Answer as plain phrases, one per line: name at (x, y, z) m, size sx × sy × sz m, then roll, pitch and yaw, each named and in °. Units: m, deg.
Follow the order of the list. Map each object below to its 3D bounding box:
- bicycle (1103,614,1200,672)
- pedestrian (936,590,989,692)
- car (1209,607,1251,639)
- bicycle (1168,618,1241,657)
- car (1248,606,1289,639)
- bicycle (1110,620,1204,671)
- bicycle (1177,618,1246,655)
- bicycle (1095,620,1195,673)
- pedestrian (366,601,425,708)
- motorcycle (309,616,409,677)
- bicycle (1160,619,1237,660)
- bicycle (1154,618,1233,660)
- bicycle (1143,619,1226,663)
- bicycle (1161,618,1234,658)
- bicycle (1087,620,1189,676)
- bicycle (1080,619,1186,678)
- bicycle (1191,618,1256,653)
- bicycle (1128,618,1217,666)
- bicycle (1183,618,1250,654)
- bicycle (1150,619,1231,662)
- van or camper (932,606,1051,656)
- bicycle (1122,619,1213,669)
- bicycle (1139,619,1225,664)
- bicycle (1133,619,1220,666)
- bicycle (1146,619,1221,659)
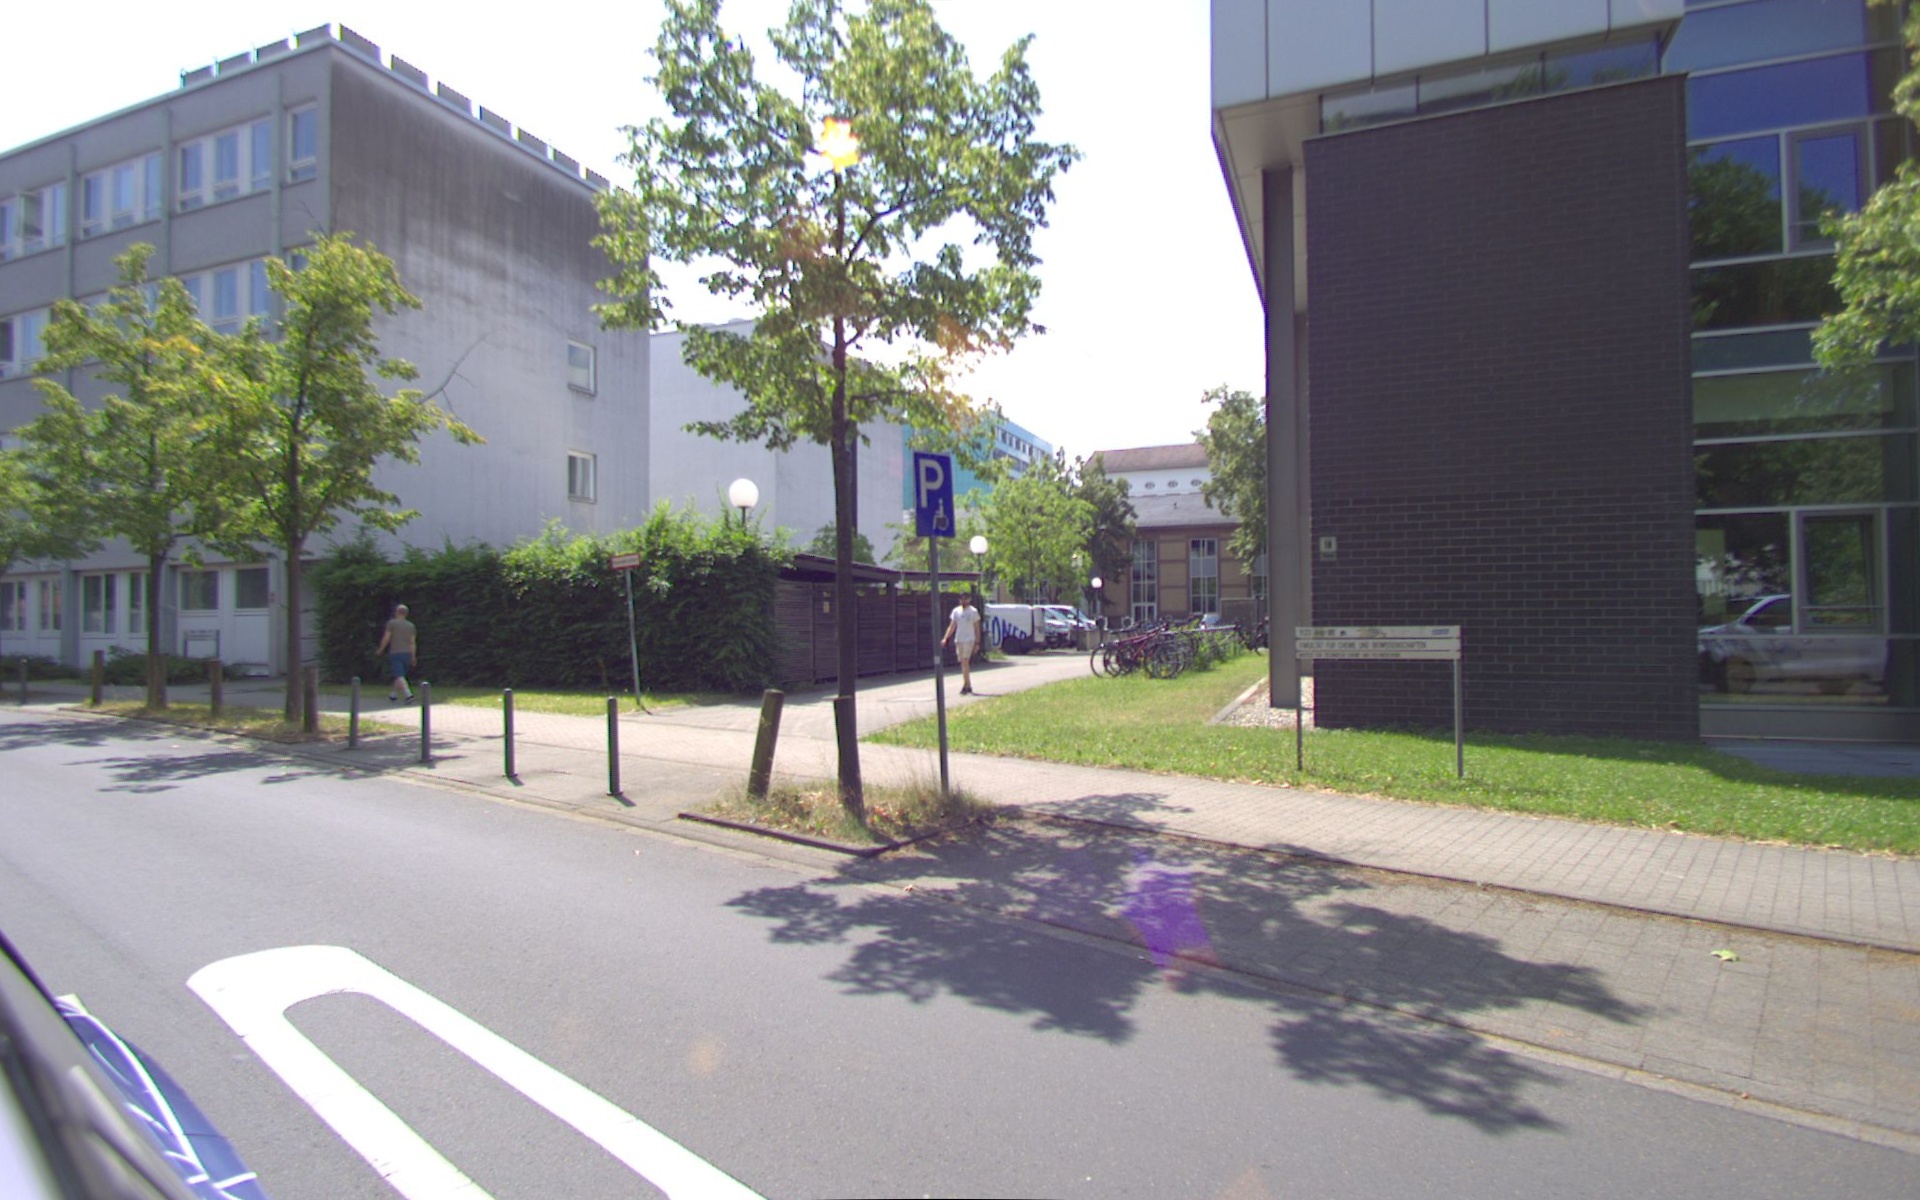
bicycle at (4.253, 0.953, 22.530) m, size 2.035 × 1.252 × 0.578 m, roll -1°, pitch -2°, yaw 21°
pedestrian at (0.046, 0.708, 17.699) m, size 0.687 × 1.733 × 0.610 m, roll -2°, pitch -2°, yaw 31°
car at (16.995, 1.416, 63.563) m, size 1.859 × 1.788 × 3.966 m, roll -2°, pitch 1°, yaw 25°
bicycle at (7.315, 1.132, 30.298) m, size 2.035 × 1.131 × 0.578 m, roll -1°, pitch -2°, yaw 21°
car at (19.124, 1.369, 62.602) m, size 1.859 × 1.788 × 3.966 m, roll -2°, pitch 1°, yaw 25°
bicycle at (4.493, 1.044, 23.111) m, size 2.035 × 1.131 × 0.578 m, roll -1°, pitch -2°, yaw 21°
bicycle at (7.852, 1.143, 31.597) m, size 2.035 × 1.131 × 0.578 m, roll -1°, pitch -2°, yaw 21°
bicycle at (4.004, 1.006, 21.935) m, size 2.035 × 1.131 × 0.578 m, roll -1°, pitch -2°, yaw 21°
pedestrian at (-9.692, 0.917, 17.366) m, size 0.910 × 1.778 × 0.578 m, roll -2°, pitch -2°, yaw 37°
motorcycle at (-15.833, 1.202, 26.717) m, size 1.073 × 1.562 × 2.089 m, roll -1°, pitch -1°, yaw 19°
bicycle at (6.715, 1.117, 28.487) m, size 2.035 × 1.131 × 0.578 m, roll -1°, pitch -2°, yaw 21°
bicycle at (6.440, 1.086, 27.923) m, size 2.035 × 1.131 × 0.578 m, roll -1°, pitch -2°, yaw 21°
bicycle at (5.839, 1.066, 26.314) m, size 2.035 × 1.131 × 0.578 m, roll -1°, pitch -2°, yaw 21°
bicycle at (6.972, 1.124, 29.712) m, size 2.035 × 1.131 × 0.578 m, roll -1°, pitch -2°, yaw 21°
bicycle at (3.717, 1.006, 21.185) m, size 2.035 × 1.131 × 0.578 m, roll -1°, pitch -2°, yaw 21°
bicycle at (3.503, 0.979, 20.494) m, size 2.035 × 1.171 × 0.578 m, roll -1°, pitch -2°, yaw 21°
bicycle at (8.711, 1.173, 33.454) m, size 2.035 × 1.131 × 0.578 m, roll -1°, pitch -2°, yaw 21°
bicycle at (5.139, 1.021, 24.463) m, size 2.035 × 1.131 × 0.499 m, roll -1°, pitch -2°, yaw 21°
bicycle at (8.338, 1.178, 32.901) m, size 2.035 × 1.131 × 0.578 m, roll -1°, pitch -2°, yaw 21°
bicycle at (6.136, 1.078, 26.991) m, size 2.035 × 1.131 × 0.578 m, roll -1°, pitch -2°, yaw 21°
van or camper at (1.167, 1.155, 37.507) m, size 4.069 × 1.752 × 1.745 m, roll -1°, pitch -1°, yaw 19°
bicycle at (4.899, 1.041, 23.923) m, size 2.035 × 1.131 × 0.545 m, roll -1°, pitch -2°, yaw 21°
bicycle at (5.615, 1.052, 25.617) m, size 2.035 × 1.131 × 0.578 m, roll -1°, pitch -2°, yaw 21°
bicycle at (5.349, 1.041, 25.037) m, size 2.035 × 1.131 × 0.578 m, roll -1°, pitch -2°, yaw 21°
bicycle at (6.455, 1.126, 29.244) m, size 2.035 × 1.131 × 0.578 m, roll -1°, pitch -2°, yaw 21°
